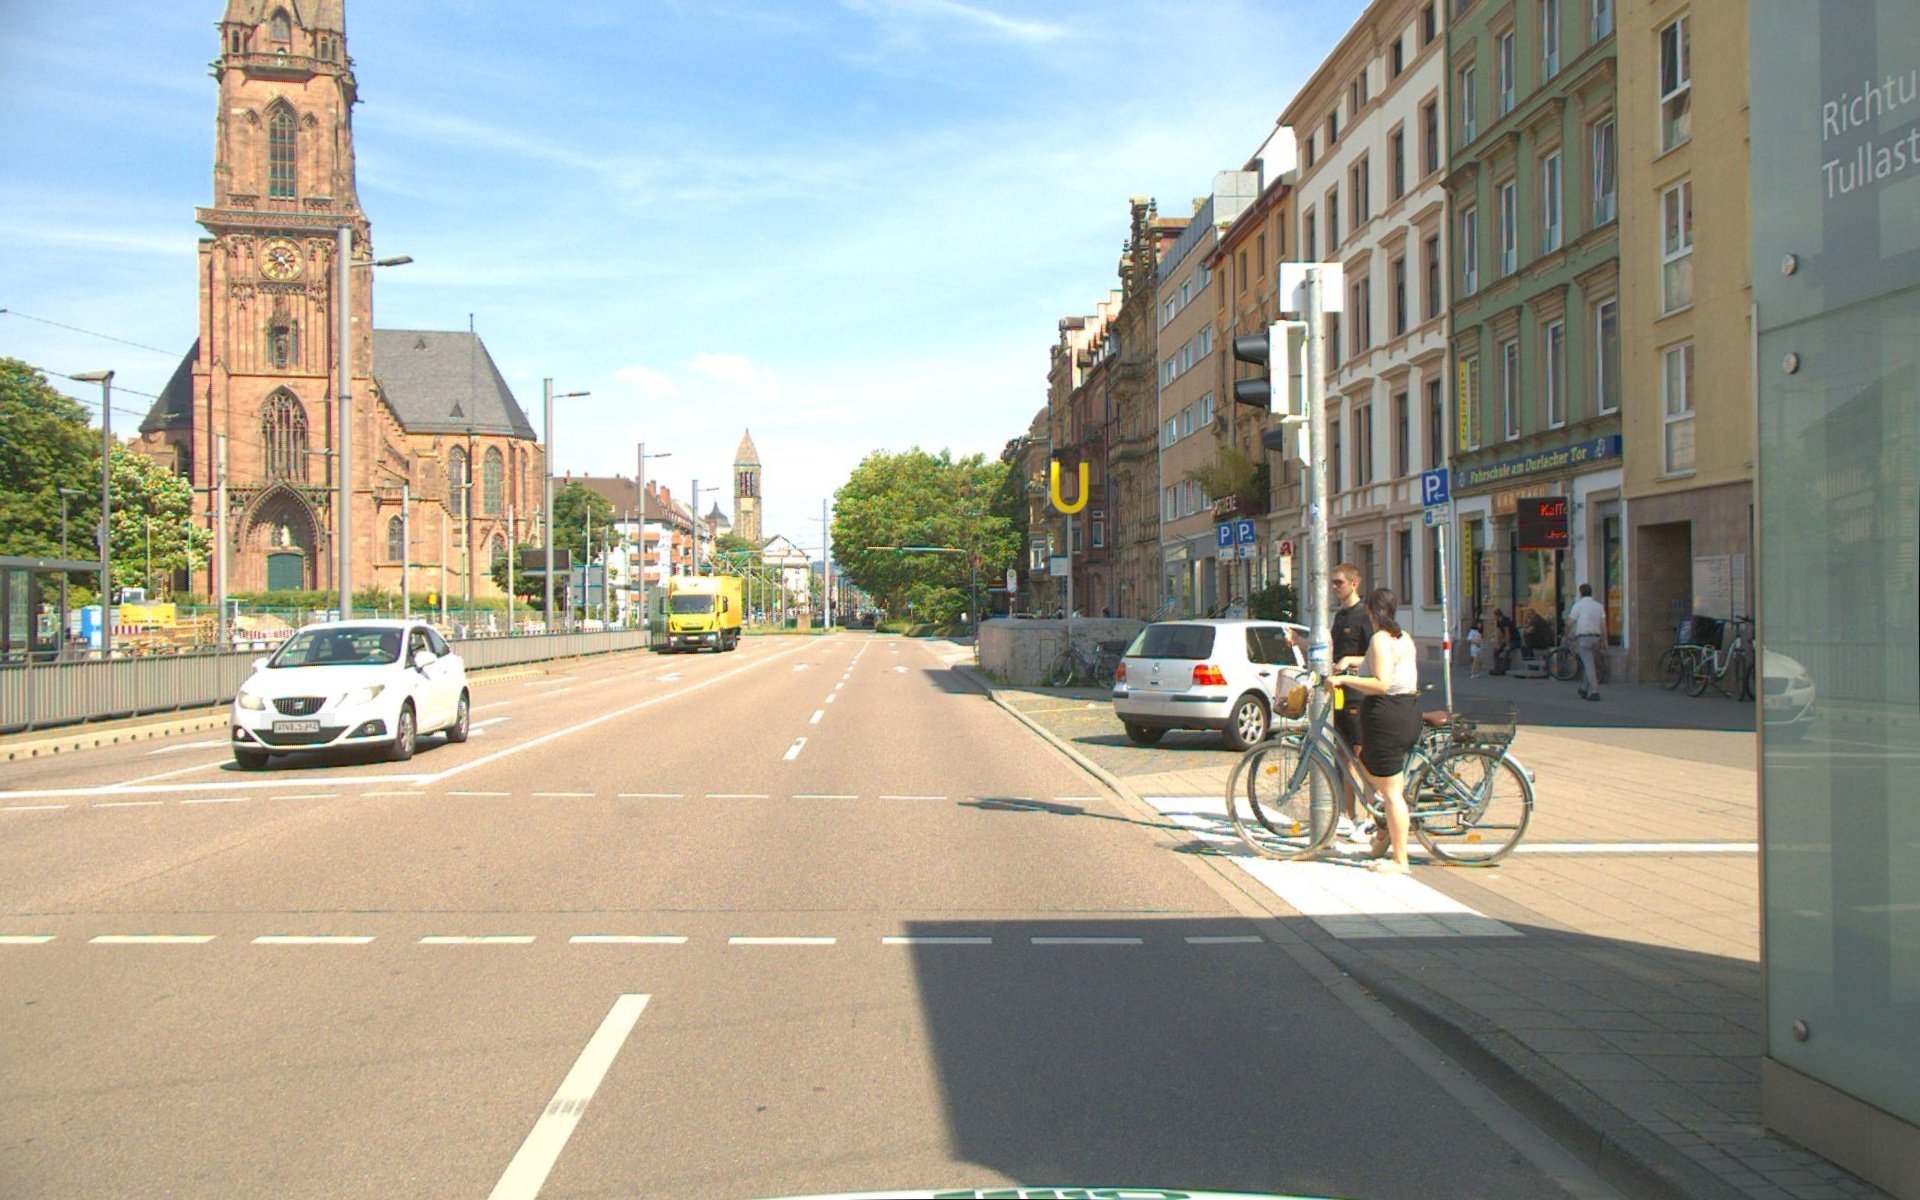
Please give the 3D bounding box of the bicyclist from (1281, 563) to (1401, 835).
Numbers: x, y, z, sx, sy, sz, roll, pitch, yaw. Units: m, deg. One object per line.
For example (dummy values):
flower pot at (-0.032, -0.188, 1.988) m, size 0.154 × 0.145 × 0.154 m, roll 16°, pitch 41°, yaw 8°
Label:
bicyclist at (2.538, 0.643, 11.060) m, size 0.604 × 1.765 × 0.583 m, roll 0°, pitch -1°, yaw -9°

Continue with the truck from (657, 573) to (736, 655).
truck at (-11.815, 0.654, 74.898) m, size 2.493 × 3.356 × 9.022 m, roll -3°, pitch 0°, yaw -3°

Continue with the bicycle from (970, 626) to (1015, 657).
bicycle at (1.044, 1.335, 53.378) m, size 1.431 × 0.963 × 0.415 m, roll -1°, pitch -2°, yaw -3°

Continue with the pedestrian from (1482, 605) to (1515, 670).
pedestrian at (11.557, 0.800, 35.496) m, size 0.514 × 1.378 × 0.530 m, roll -1°, pitch 0°, yaw -3°

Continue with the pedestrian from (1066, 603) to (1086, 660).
pedestrian at (3.497, 0.954, 49.932) m, size 0.542 × 1.695 × 0.525 m, roll -1°, pitch -1°, yaw -3°

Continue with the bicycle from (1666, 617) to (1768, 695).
bicycle at (11.540, 0.829, 25.277) m, size 0.571 × 1.114 × 1.818 m, roll -3°, pitch -1°, yaw -4°

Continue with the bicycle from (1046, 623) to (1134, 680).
bicycle at (2.611, 1.032, 33.360) m, size 1.707 × 1.113 × 0.597 m, roll -1°, pitch 0°, yaw -3°

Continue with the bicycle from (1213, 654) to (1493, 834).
bicycle at (2.646, 0.951, 11.199) m, size 1.758 × 1.150 × 0.583 m, roll 0°, pitch -1°, yaw -9°

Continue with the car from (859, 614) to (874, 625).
car at (-12.224, 2.532, 216.405) m, size 1.862 × 1.400 × 3.811 m, roll -1°, pitch 0°, yaw -5°

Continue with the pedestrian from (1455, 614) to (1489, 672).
pedestrian at (10.753, 0.894, 34.743) m, size 0.514 × 1.188 × 0.530 m, roll -1°, pitch 0°, yaw -3°

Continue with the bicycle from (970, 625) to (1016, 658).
bicycle at (1.059, 1.319, 52.932) m, size 1.431 × 0.993 × 0.415 m, roll -1°, pitch 2°, yaw -3°

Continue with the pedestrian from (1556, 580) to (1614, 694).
pedestrian at (9.986, 0.586, 26.444) m, size 0.597 × 1.776 × 0.703 m, roll -1°, pitch -1°, yaw -3°

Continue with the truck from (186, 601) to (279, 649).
truck at (-42.508, 1.444, 96.725) m, size 4.308 × 2.725 × 2.386 m, roll -1°, pitch -1°, yaw 1°

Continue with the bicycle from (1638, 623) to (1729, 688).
bicycle at (11.887, 0.896, 27.237) m, size 0.571 × 0.981 × 1.779 m, roll -3°, pitch -1°, yaw -4°

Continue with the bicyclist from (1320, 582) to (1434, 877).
bicyclist at (2.376, 0.708, 9.419) m, size 0.598 × 1.600 × 0.733 m, roll 0°, pitch -1°, yaw 15°

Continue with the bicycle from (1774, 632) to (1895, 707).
bicycle at (11.653, 0.908, 22.091) m, size 0.570 × 0.932 × 1.755 m, roll -2°, pitch -1°, yaw -4°

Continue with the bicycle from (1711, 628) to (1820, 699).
bicycle at (11.660, 0.904, 23.999) m, size 0.571 × 0.943 × 1.755 m, roll -3°, pitch -1°, yaw -4°

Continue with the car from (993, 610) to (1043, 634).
car at (4.626, 1.755, 133.018) m, size 3.906 × 1.780 × 2.000 m, roll -1°, pitch 2°, yaw -1°

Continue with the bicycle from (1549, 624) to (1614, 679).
bicycle at (11.764, 0.955, 31.357) m, size 0.404 × 0.981 × 1.779 m, roll -3°, pitch -1°, yaw -4°

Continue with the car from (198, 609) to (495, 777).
car at (-6.361, 0.883, 17.665) m, size 1.719 × 1.422 × 4.122 m, roll -4°, pitch 0°, yaw -3°

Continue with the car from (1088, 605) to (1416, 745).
car at (3.532, 0.854, 19.602) m, size 3.966 × 1.465 × 1.786 m, roll 2°, pitch -1°, yaw -42°

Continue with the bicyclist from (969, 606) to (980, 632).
bicyclist at (0.921, 1.226, 105.798) m, size 0.629 × 1.619 × 0.481 m, roll 0°, pitch 2°, yaw -18°

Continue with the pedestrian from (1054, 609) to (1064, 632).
pedestrian at (6.237, 1.300, 104.512) m, size 0.523 × 1.431 × 0.490 m, roll -1°, pitch 2°, yaw -9°

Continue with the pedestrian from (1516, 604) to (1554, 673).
pedestrian at (11.832, 0.785, 34.065) m, size 0.514 × 1.398 × 0.646 m, roll -1°, pitch 0°, yaw -3°

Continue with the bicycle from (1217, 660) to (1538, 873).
bicycle at (2.427, 0.936, 9.691) m, size 1.753 × 1.150 × 0.755 m, roll 0°, pitch -1°, yaw 15°

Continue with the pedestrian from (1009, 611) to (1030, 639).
pedestrian at (2.912, 1.202, 80.733) m, size 0.928 × 1.348 × 0.821 m, roll -1°, pitch -1°, yaw -5°

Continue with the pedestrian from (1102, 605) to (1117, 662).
pedestrian at (4.510, 1.015, 49.823) m, size 0.364 × 1.695 × 0.525 m, roll -1°, pitch -1°, yaw -3°

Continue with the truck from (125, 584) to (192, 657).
truck at (-41.516, 1.050, 85.852) m, size 2.981 × 3.631 × 5.994 m, roll -1°, pitch -1°, yaw -25°

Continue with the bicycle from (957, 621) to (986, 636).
bicycle at (0.759, 1.818, 105.757) m, size 1.790 × 0.878 × 0.481 m, roll 0°, pitch 2°, yaw -18°
